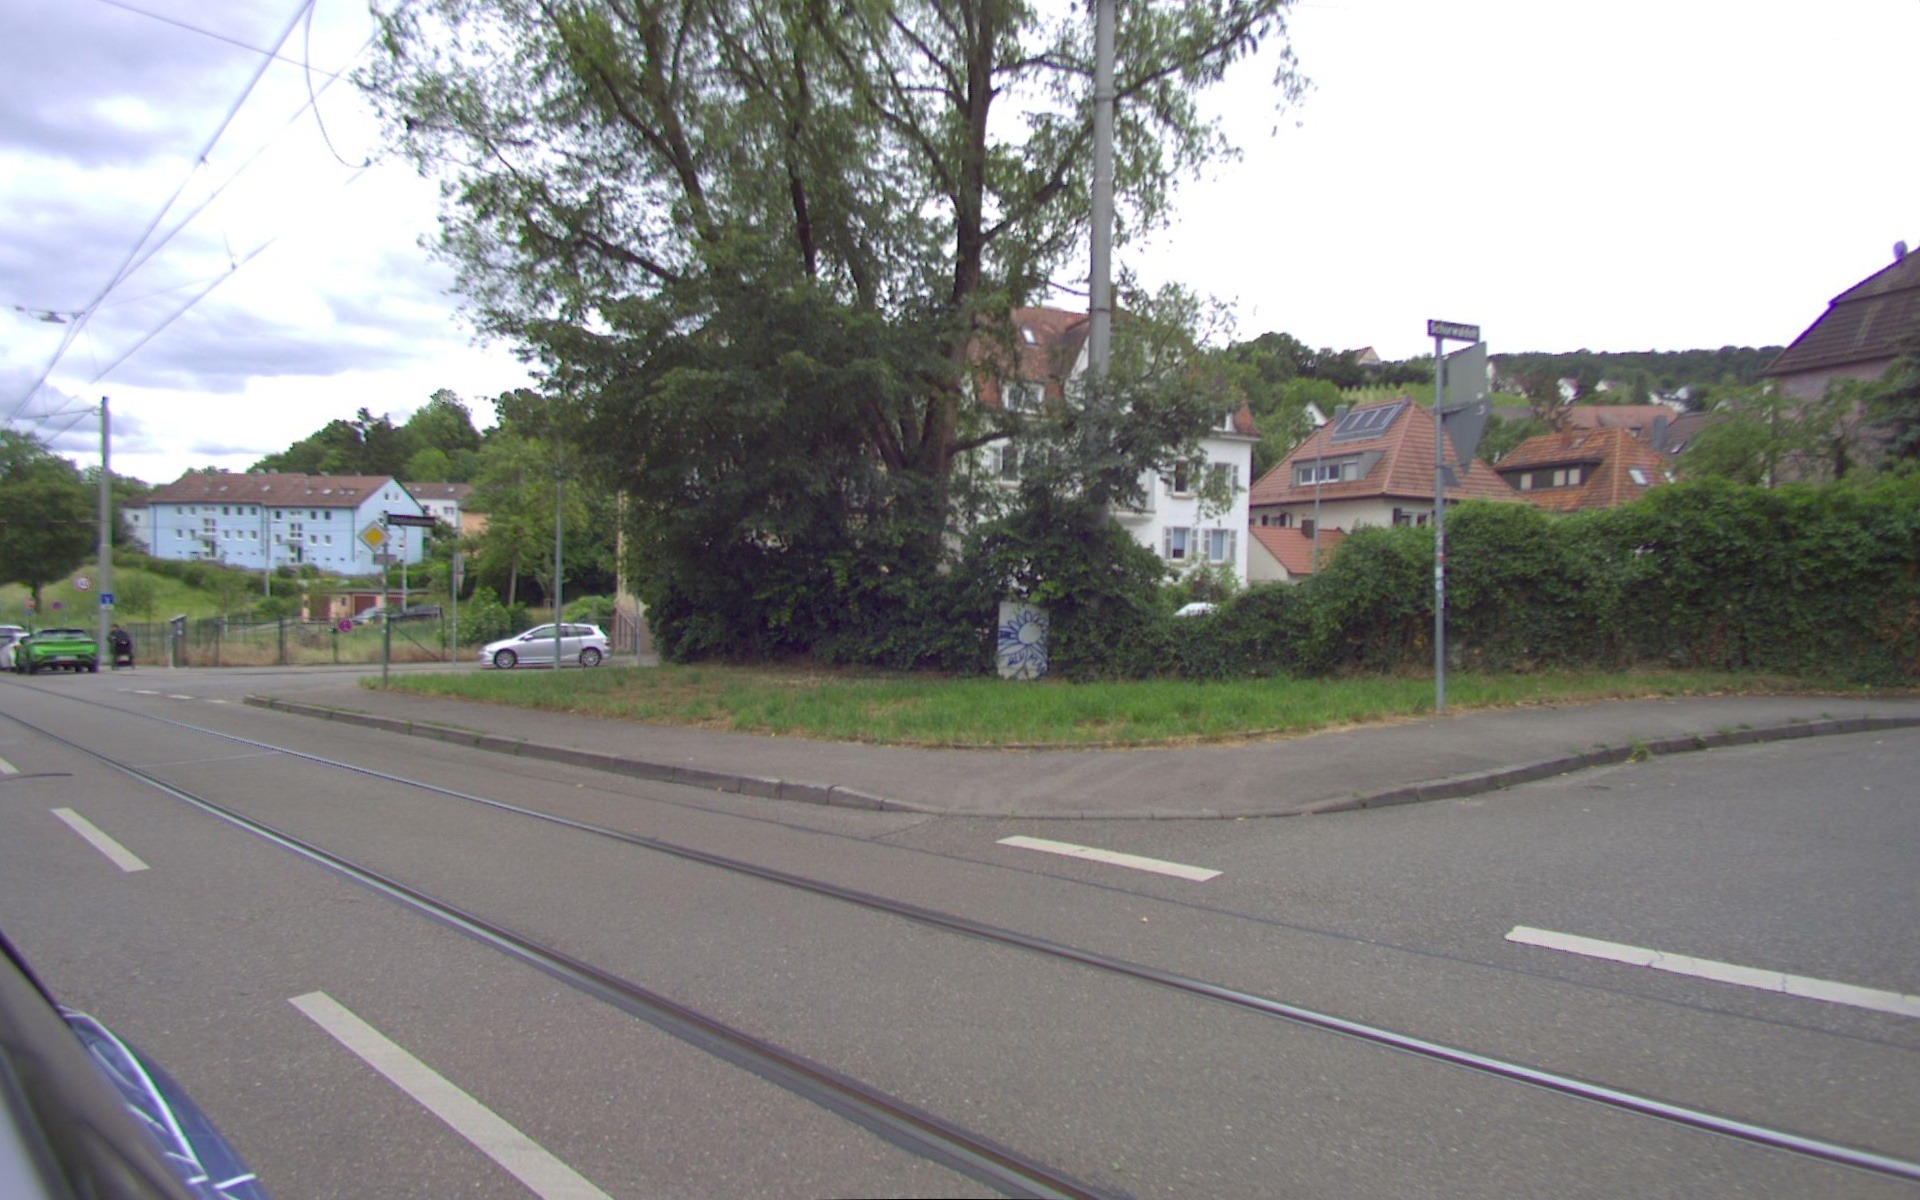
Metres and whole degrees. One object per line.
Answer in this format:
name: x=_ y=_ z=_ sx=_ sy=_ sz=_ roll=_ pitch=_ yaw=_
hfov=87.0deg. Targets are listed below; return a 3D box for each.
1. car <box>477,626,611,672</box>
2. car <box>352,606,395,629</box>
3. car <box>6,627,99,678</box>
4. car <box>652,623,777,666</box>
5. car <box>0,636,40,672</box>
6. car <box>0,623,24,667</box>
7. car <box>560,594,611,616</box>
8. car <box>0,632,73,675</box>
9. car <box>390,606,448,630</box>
car: x=-13.508 y=1.569 z=32.889 sx=3.944 sy=1.388 sz=1.701 roll=0 pitch=-1 yaw=-25
car: x=-50.995 y=1.530 z=88.029 sx=1.968 sy=1.918 sz=4.008 roll=-1 pitch=-1 yaw=-10
car: x=-30.012 y=1.712 z=33.425 sx=3.946 sy=1.552 sz=1.832 roll=-2 pitch=-2 yaw=41
car: x=-8.479 y=1.518 z=34.962 sx=3.979 sy=1.388 sz=1.701 roll=0 pitch=-1 yaw=-24
car: x=-40.564 y=2.265 z=42.921 sx=3.946 sy=1.505 sz=1.832 roll=-2 pitch=-3 yaw=41
car: x=-44.741 y=2.062 z=46.623 sx=4.289 sy=1.961 sz=1.877 roll=-2 pitch=-3 yaw=41
car: x=-33.277 y=0.439 z=90.037 sx=3.935 sy=1.918 sz=2.004 roll=-1 pitch=-1 yaw=-10
car: x=-34.262 y=1.938 z=37.298 sx=3.946 sy=1.505 sz=1.832 roll=-2 pitch=-3 yaw=41
car: x=-46.697 y=1.533 z=87.430 sx=3.935 sy=1.918 sz=2.004 roll=-1 pitch=-1 yaw=-10
